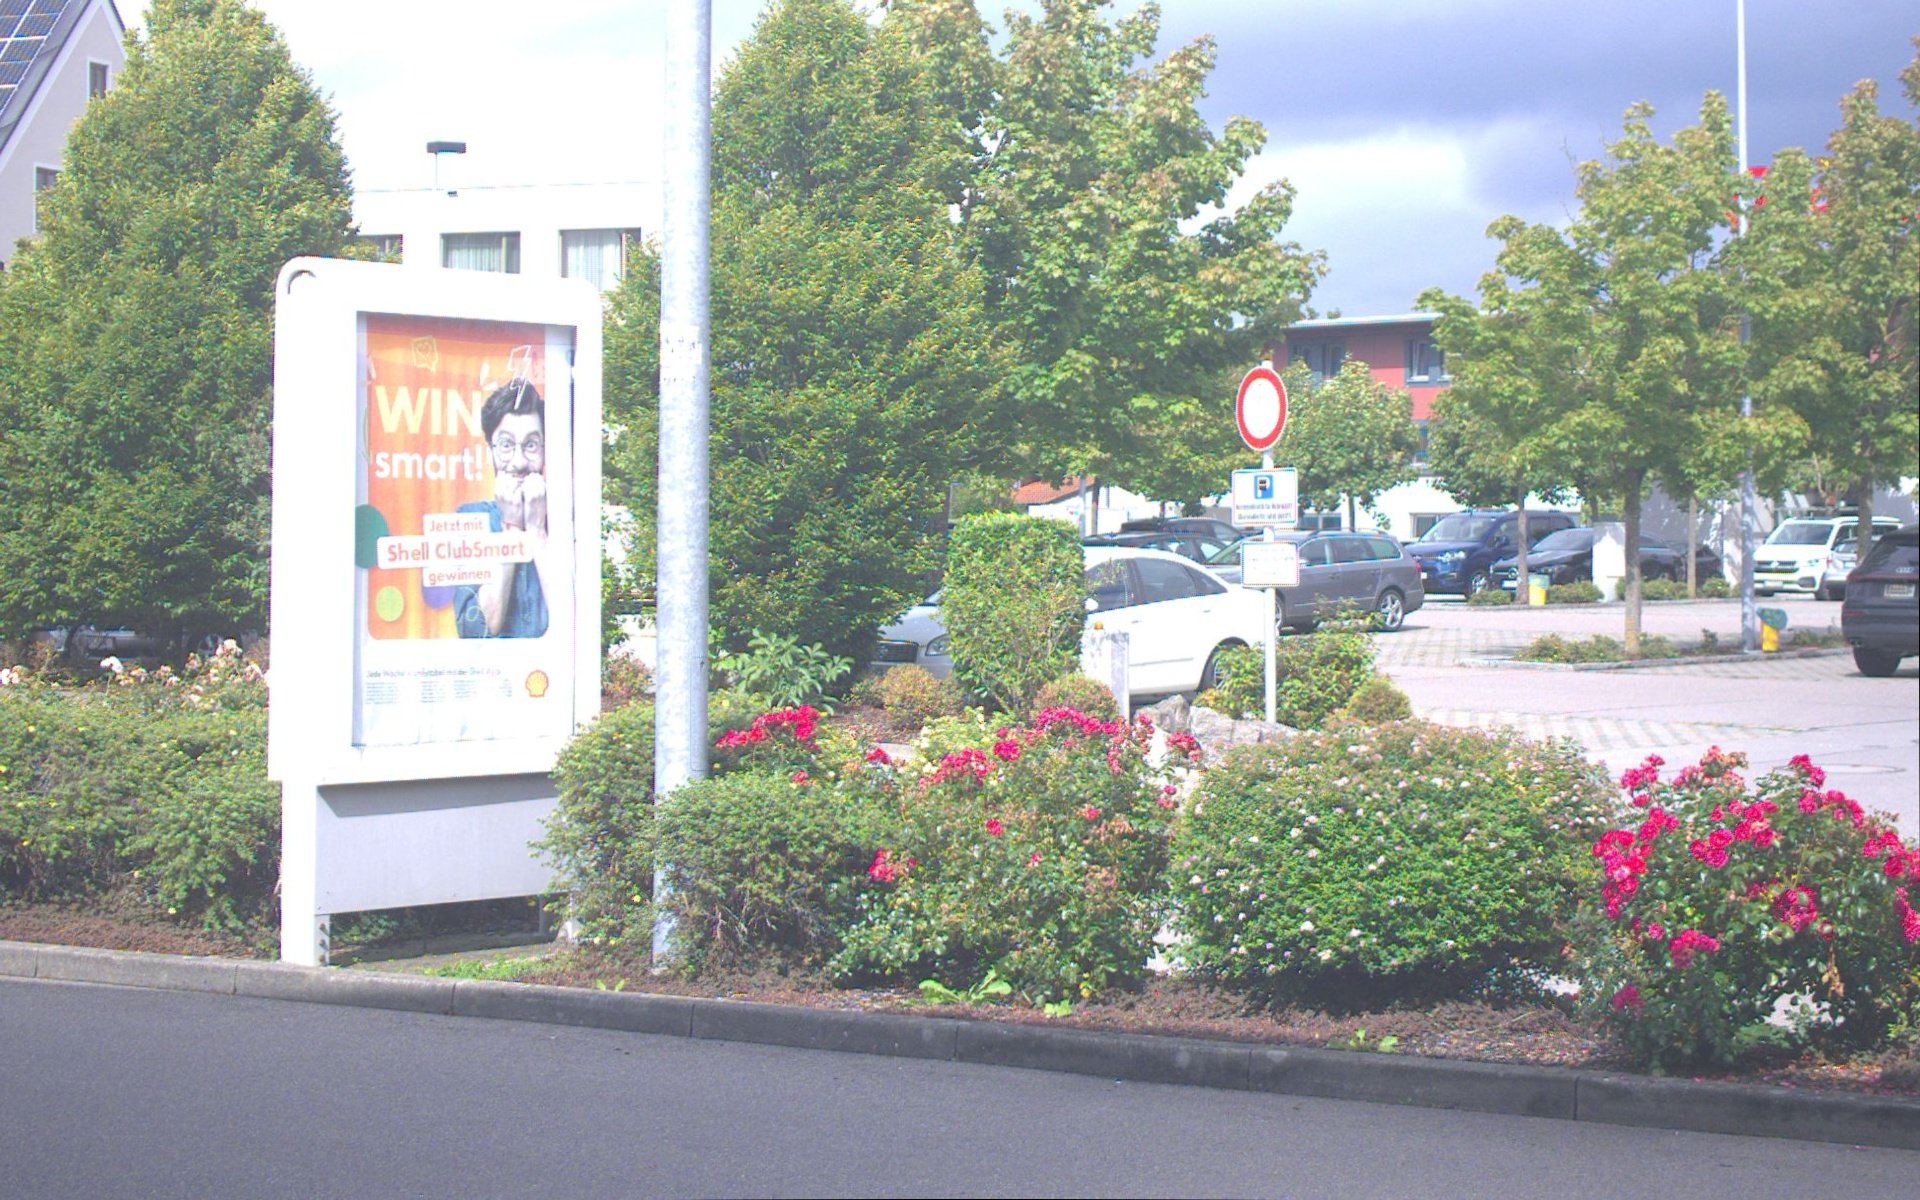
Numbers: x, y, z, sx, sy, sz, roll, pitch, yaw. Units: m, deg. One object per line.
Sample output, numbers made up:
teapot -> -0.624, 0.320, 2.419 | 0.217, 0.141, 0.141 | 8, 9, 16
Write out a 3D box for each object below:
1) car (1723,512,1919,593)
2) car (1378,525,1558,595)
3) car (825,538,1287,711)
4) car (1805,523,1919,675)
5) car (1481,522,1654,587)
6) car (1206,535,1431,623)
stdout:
car -> 20.249, -1.096, 80.651 | 4.864, 1.827, 2.184 | 0, 1, -43
car -> 9.886, -0.766, 66.794 | 3.379, 1.316, 1.747 | 0, 1, -44
car -> 0.901, 0.199, 29.938 | 4.332, 1.399, 1.370 | 0, 1, -44
car -> 11.131, -0.013, 36.740 | 4.491, 1.543, 1.885 | 0, 1, -43
car -> 11.515, -0.847, 65.045 | 3.409, 1.174, 1.485 | 0, 1, -44
car -> 5.201, -0.296, 49.727 | 3.218, 1.224, 1.505 | 0, 1, -44
